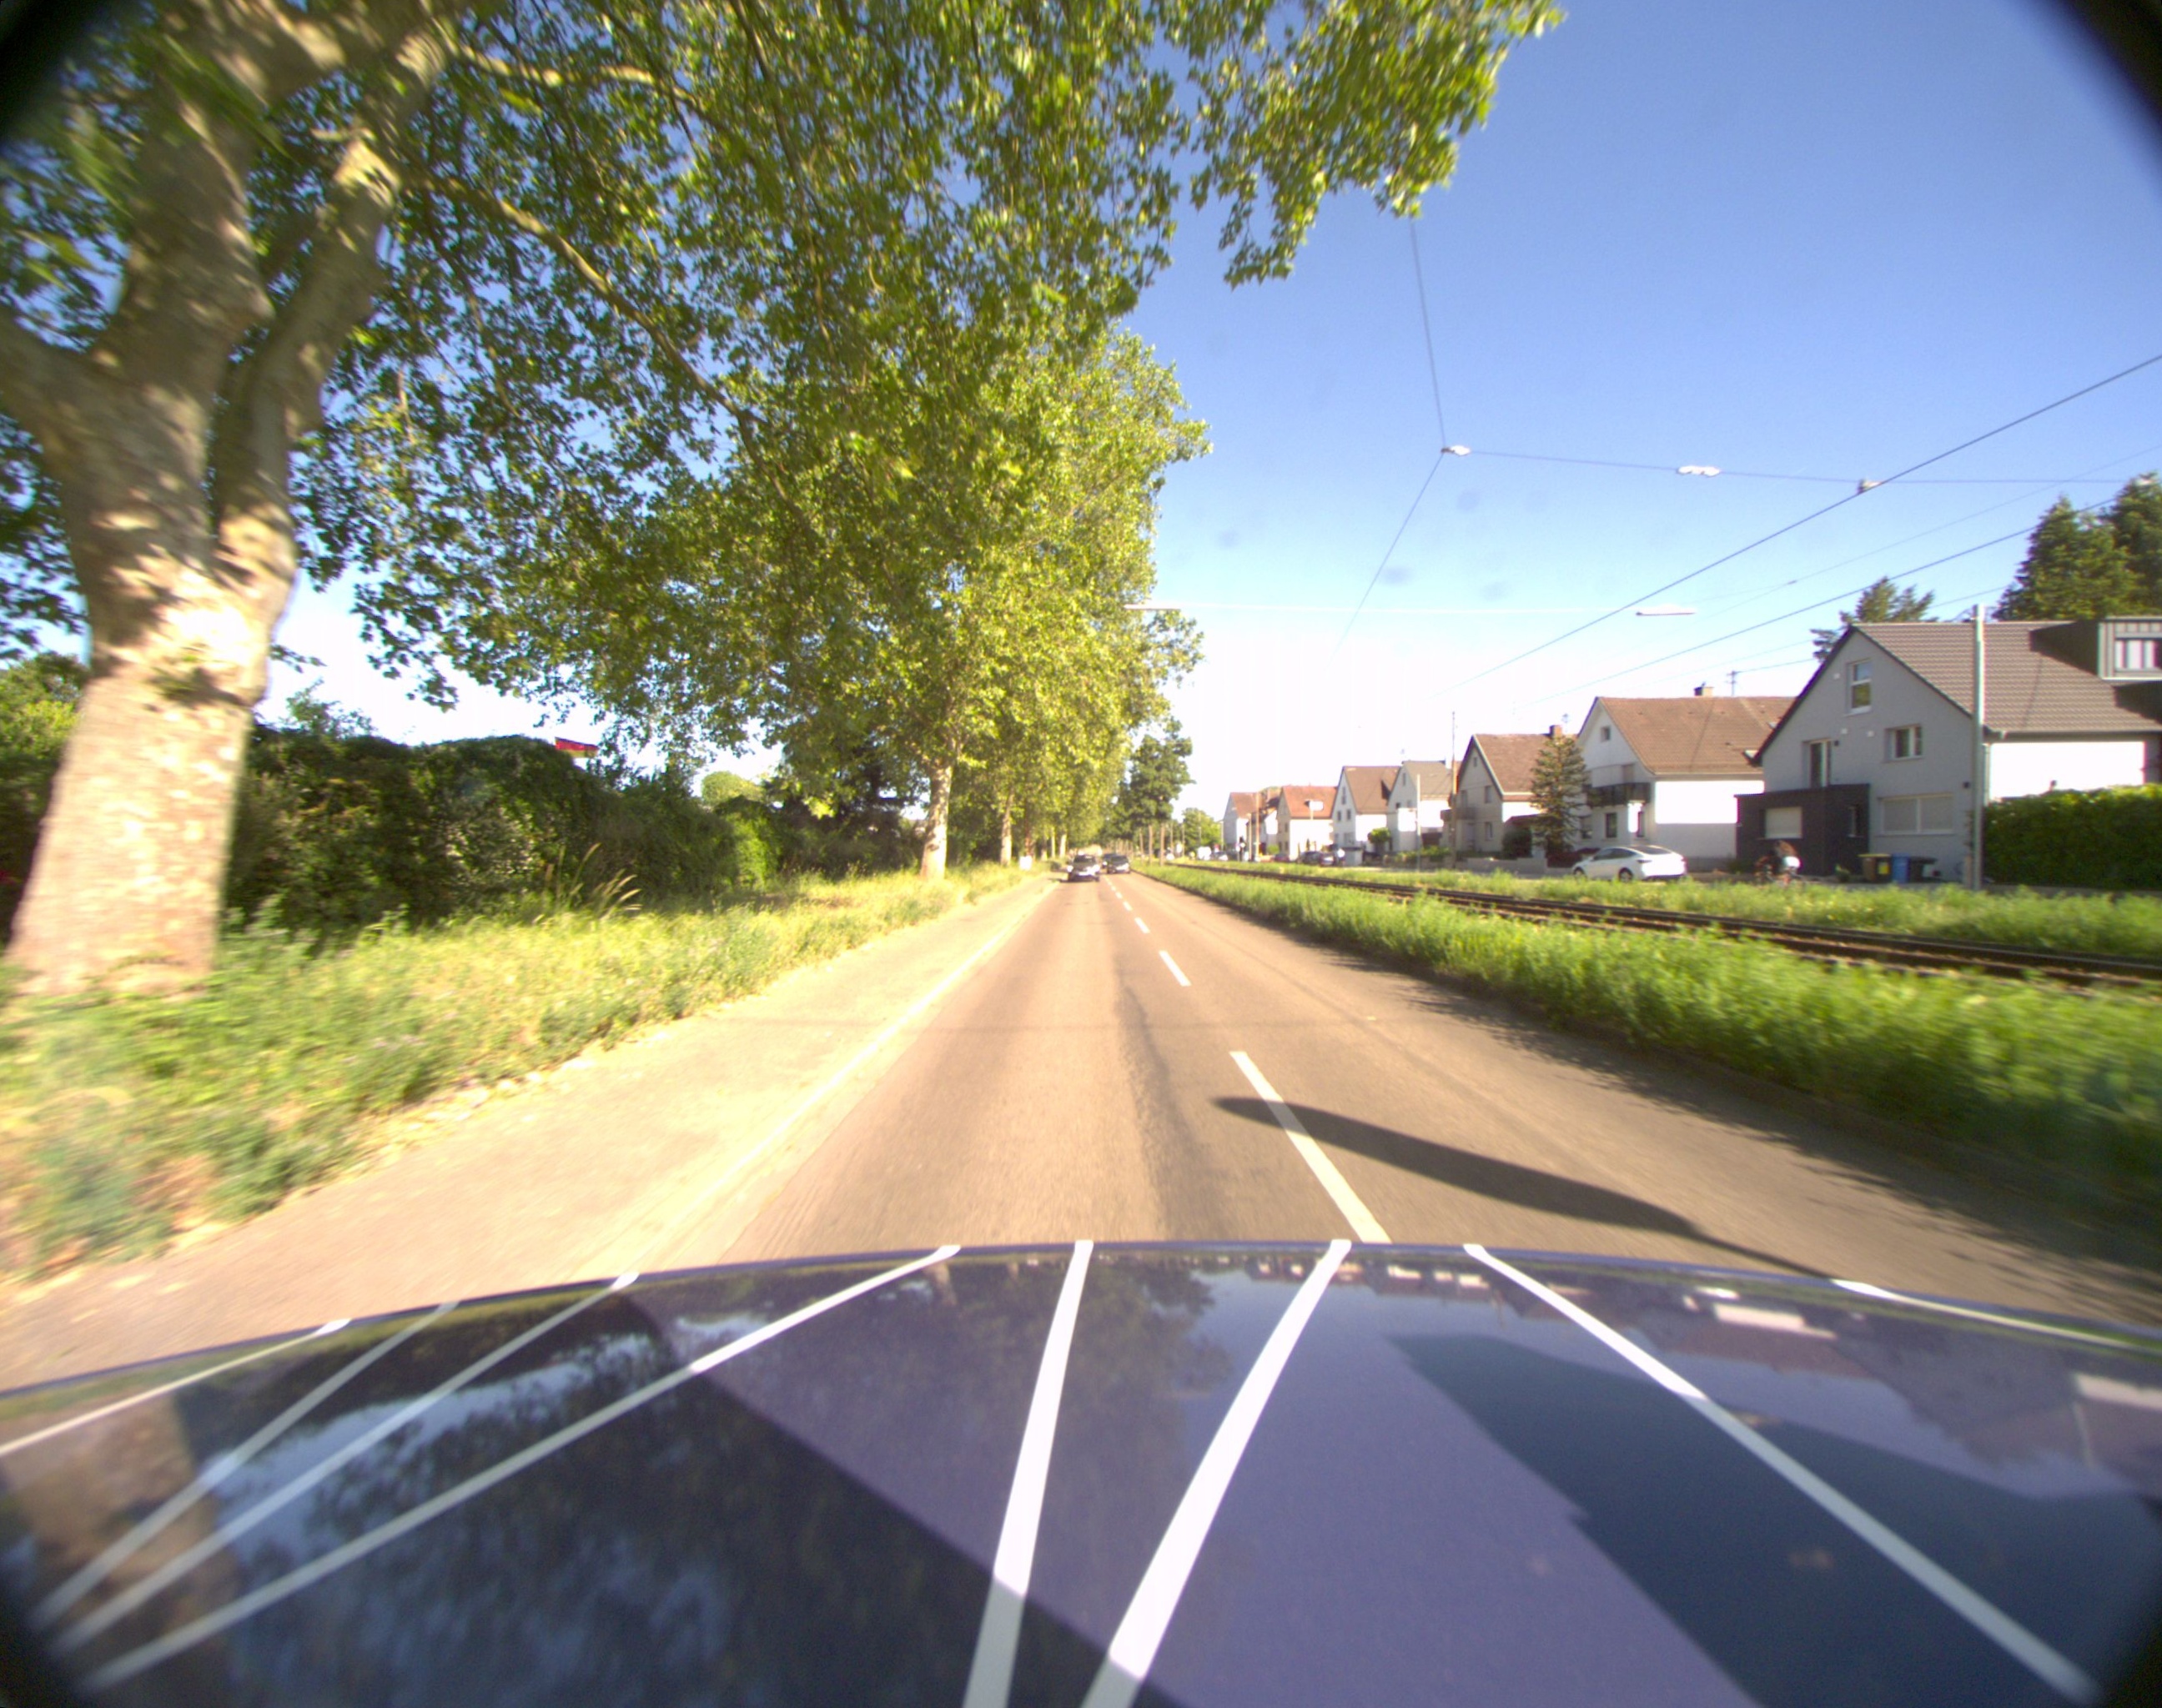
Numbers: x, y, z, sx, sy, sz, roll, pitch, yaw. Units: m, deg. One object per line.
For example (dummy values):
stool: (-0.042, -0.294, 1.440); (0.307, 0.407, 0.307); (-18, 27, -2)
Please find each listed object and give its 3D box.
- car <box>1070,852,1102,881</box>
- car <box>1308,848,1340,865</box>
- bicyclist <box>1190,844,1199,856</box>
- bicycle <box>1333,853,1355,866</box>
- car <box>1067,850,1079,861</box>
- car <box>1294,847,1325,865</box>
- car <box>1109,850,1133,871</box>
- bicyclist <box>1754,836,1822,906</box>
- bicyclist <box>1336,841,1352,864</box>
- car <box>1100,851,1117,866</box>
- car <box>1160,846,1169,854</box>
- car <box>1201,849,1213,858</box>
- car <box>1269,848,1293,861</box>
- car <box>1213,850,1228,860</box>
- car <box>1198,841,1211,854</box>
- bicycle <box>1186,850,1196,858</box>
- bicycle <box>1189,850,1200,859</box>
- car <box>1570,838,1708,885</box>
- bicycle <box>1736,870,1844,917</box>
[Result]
car: (0.296, 0.664, 43.475); (1.692, 1.499, 3.582); (-2, 1, 1)
car: (22.233, 0.210, 69.572); (1.738, 1.481, 3.755); (-2, 1, 1)
bicyclist: (20.561, -0.721, 137.788); (1.310, 2.220, 1.623); (-2, 1, 1)
bicycle: (20.069, 0.409, 57.968); (0.854, 0.946, 2.309); (-2, 1, 1)
car: (-1.145, 0.188, 112.306); (1.692, 1.499, 3.582); (-2, 1, 1)
car: (22.169, 0.182, 73.768); (1.802, 1.588, 4.011); (-2, 1, 1)
car: (3.073, 0.492, 58.778); (1.692, 1.499, 3.582); (-2, 1, 1)
bicyclist: (19.525, 0.452, 21.007); (0.854, 1.876, 1.072); (-2, 1, 1)
bicyclist: (20.039, -0.117, 57.906); (0.854, 1.665, 0.836); (-2, 1, 0)
car: (2.963, 0.497, 82.117); (1.692, 1.499, 3.582); (-2, 1, 1)
car: (23.516, -1.096, 213.522); (2.133, 2.023, 3.999); (-2, 1, 0)
car: (22.896, -0.072, 137.869); (1.791, 1.497, 4.000); (-2, 1, 4)
car: (22.671, 0.026, 86.281); (1.756, 1.373, 3.823); (-2, 1, 1)
car: (22.698, 0.096, 123.973); (1.791, 1.497, 4.000); (-2, 1, 1)
car: (23.176, -1.212, 142.773); (2.132, 2.210, 4.000); (-2, 1, 4)
bicycle: (20.686, 0.001, 142.990); (1.354, 1.568, 4.000); (-2, 1, 1)
bicycle: (20.549, 0.086, 137.899); (1.354, 1.486, 4.000); (-2, 1, 1)
car: (22.066, 0.260, 30.357); (1.998, 1.668, 4.839); (-2, 1, 1)
bicycle: (19.563, 1.065, 21.059); (0.854, 1.128, 2.309); (-2, 1, 1)
